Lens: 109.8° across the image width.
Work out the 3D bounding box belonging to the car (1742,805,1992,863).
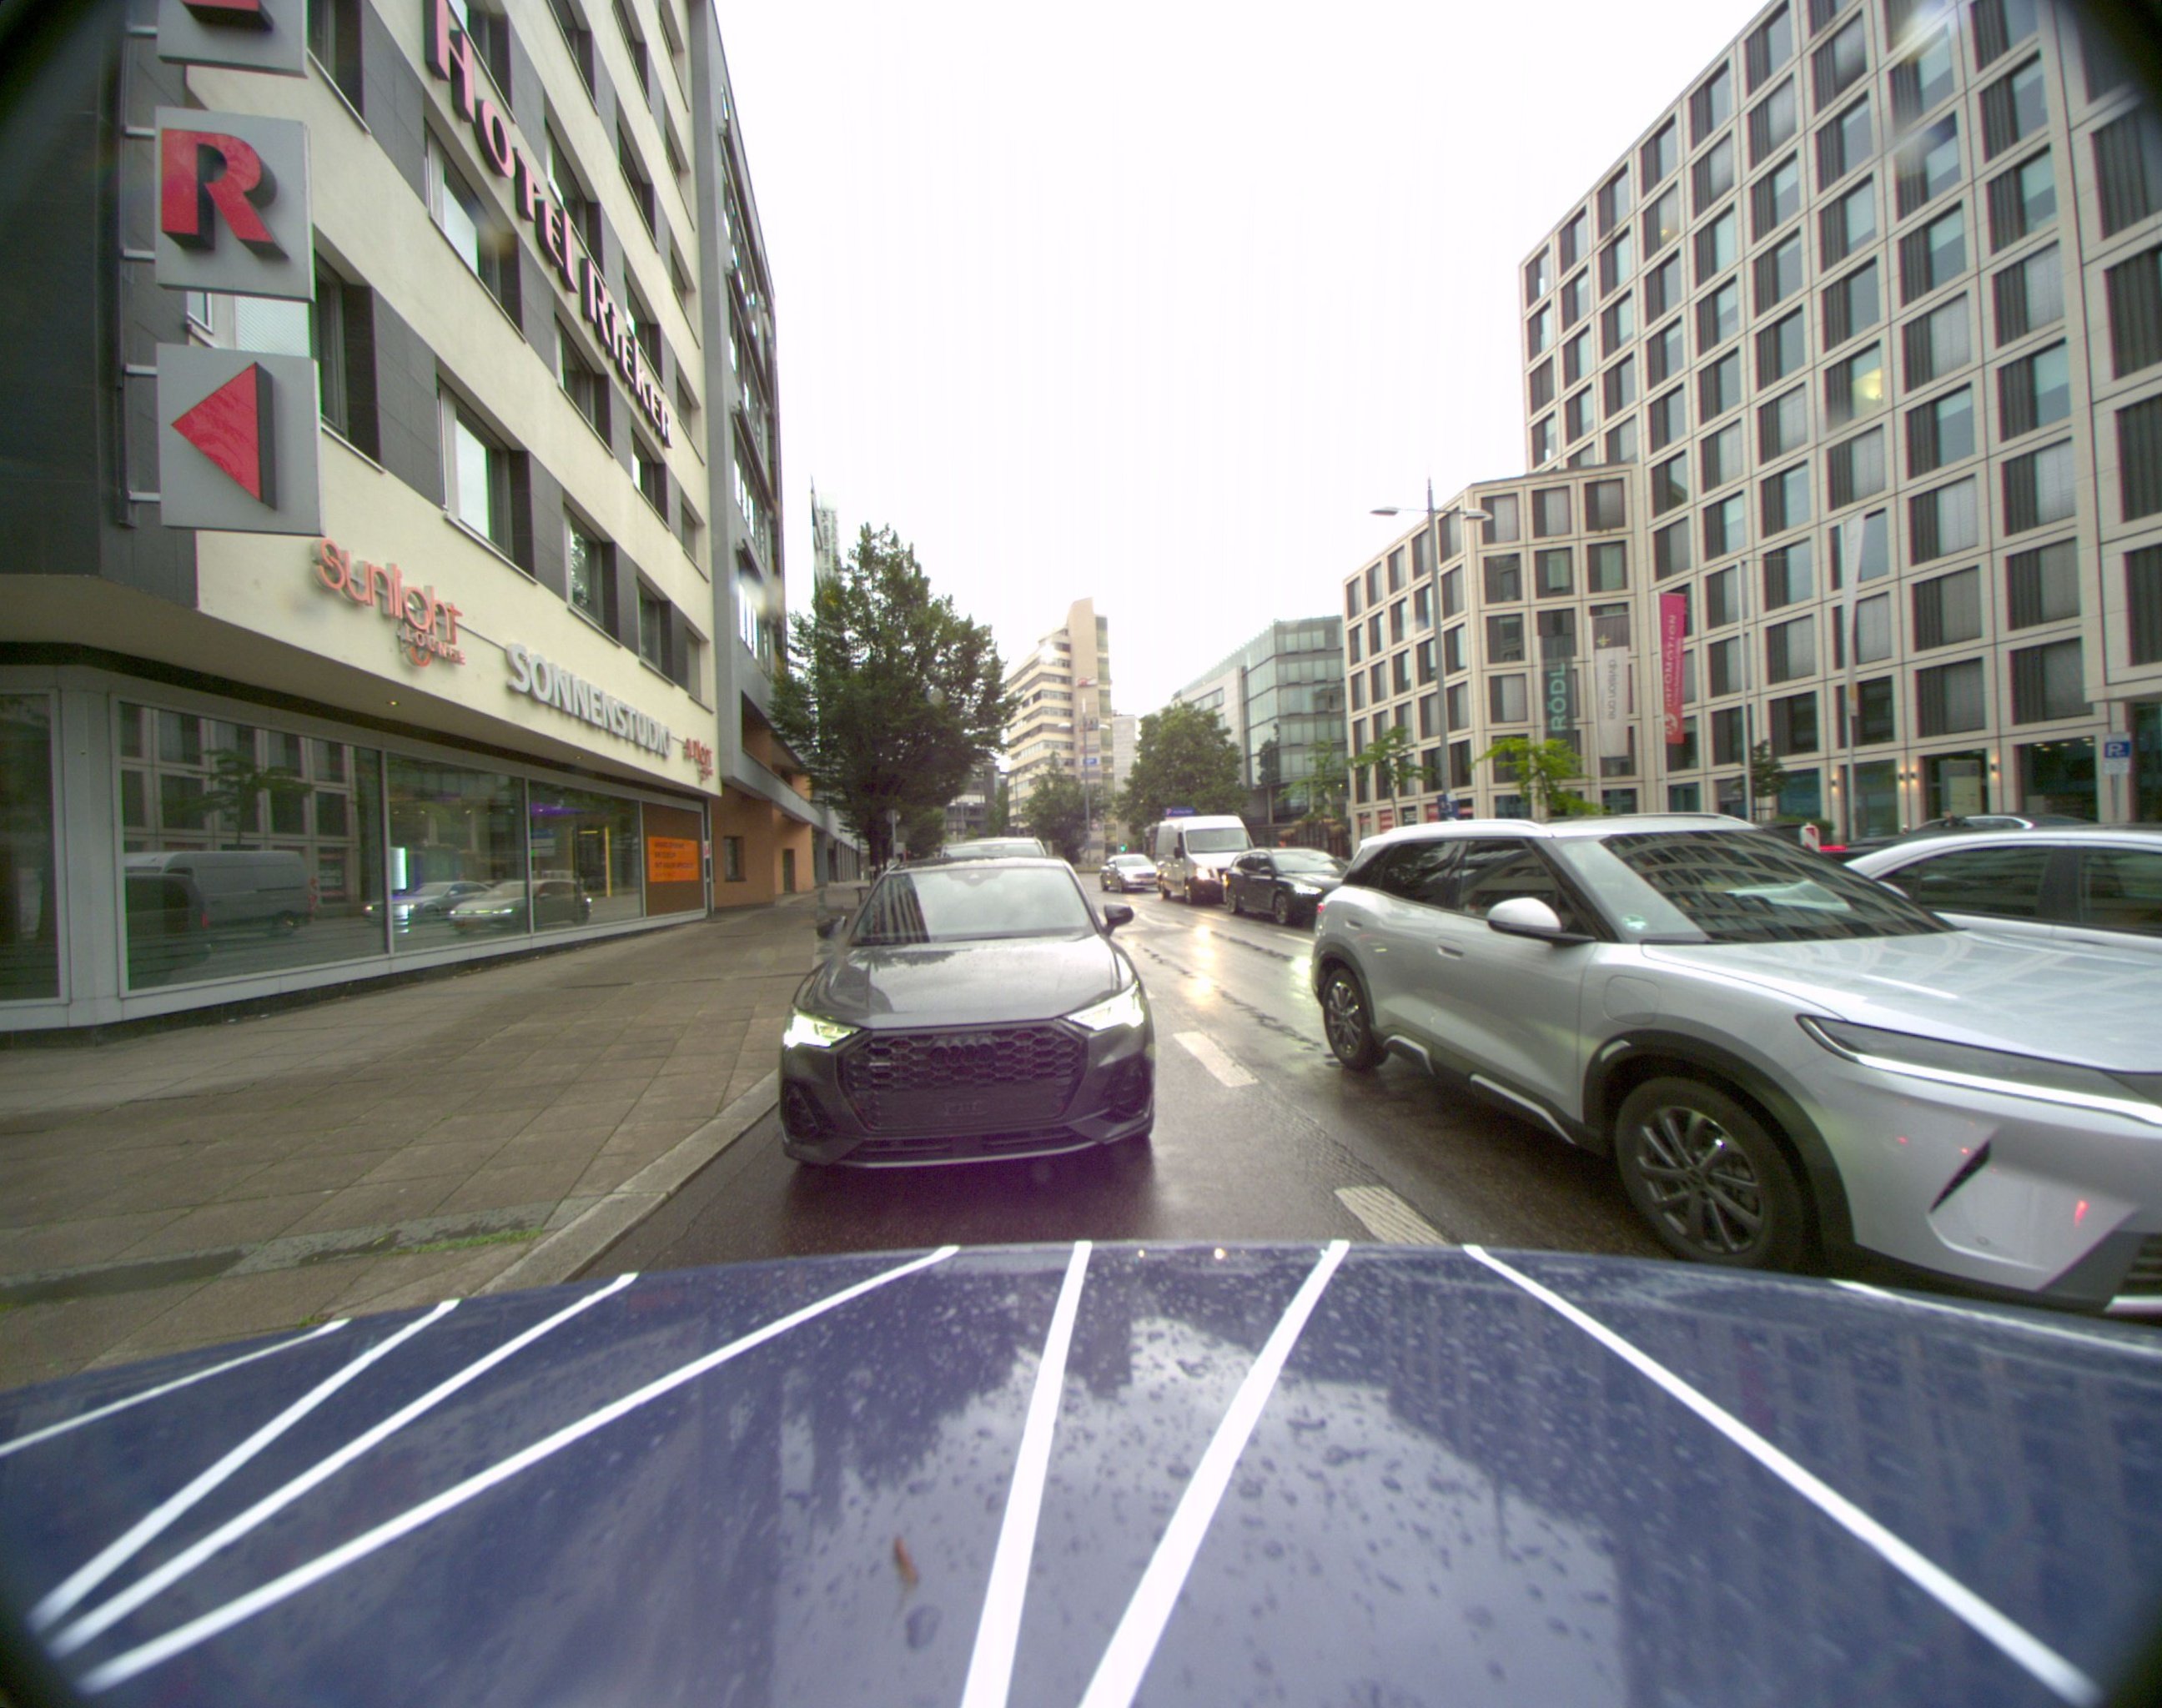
[{"bbox_3d":[23.573,-0.541,23.149,1.703,1.560,5.178,-1,0,-12],"label":"car"}]

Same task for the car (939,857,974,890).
[{"bbox_3d":[-6.412,0.974,39.427,1.600,1.460,3.445,-4,1,-8],"label":"car"}]

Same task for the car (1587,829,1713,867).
[{"bbox_3d":[22.875,-0.225,30.743,1.703,1.415,3.951,-1,0,-12],"label":"car"}]

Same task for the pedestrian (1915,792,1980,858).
[{"bbox_3d":[23.558,-0.784,20.679,0.614,1.724,0.966,-4,2,-11],"label":"pedestrian"}]

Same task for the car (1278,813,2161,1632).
[{"bbox_3d":[2.700,0.727,3.755,1.814,1.651,4.167,-4,1,-8],"label":"car"}]

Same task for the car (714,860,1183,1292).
[{"bbox_3d":[-0.668,0.910,5.288,1.802,1.543,4.385,-3,1,-4],"label":"car"}]

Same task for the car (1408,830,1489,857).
[{"bbox_3d":[20.370,-0.547,42.288,1.703,1.415,4.369,-1,0,-12],"label":"car"}]

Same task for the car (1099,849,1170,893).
[{"bbox_3d":[2.005,0.596,29.638,1.786,1.499,3.996,-4,1,-10],"label":"car"}]

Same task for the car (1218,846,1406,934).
[{"bbox_3d":[4.397,0.604,15.249,1.906,1.393,4.237,-4,1,-9],"label":"car"}]

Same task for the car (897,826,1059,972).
[{"bbox_3d":[-1.482,0.578,12.967,2.060,1.881,5.047,-3,1,-1],"label":"car"}]

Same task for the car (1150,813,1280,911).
[{"bbox_3d":[3.699,0.161,22.271,2.260,2.371,5.716,-3,1,-4],"label":"car"}]

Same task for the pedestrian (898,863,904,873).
[{"bbox_3d":[-29.269,2.272,123.467,0.654,1.589,1.057,-4,2,-18],"label":"pedestrian"}]

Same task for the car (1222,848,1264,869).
[{"bbox_3d":[12.269,0.336,57.800,1.703,1.510,3.870,-1,0,-12],"label":"car"}]

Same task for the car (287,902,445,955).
[{"bbox_3d":[-23.651,2.431,25.270,3.391,1.322,1.564,-4,1,-15],"label":"car"}]

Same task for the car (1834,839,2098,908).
[{"bbox_3d":[21.878,0.436,19.044,1.703,1.510,3.967,-1,0,-12],"label":"car"}]

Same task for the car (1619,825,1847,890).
[{"bbox_3d":[16.059,0.067,19.031,1.703,1.415,4.135,-1,0,-12],"label":"car"}]

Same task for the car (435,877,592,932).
[{"bbox_3d":[-16.357,1.398,22.190,1.721,1.187,3.998,-3,1,-4],"label":"car"}]

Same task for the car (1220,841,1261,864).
[{"bbox_3d":[15.301,-0.127,73.195,2.000,2.002,4.910,-4,1,-13],"label":"car"}]

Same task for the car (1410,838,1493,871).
[{"bbox_3d":[18.315,0.028,37.717,1.704,1.510,3.683,-1,0,-15],"label":"car"}]

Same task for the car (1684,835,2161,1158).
[{"bbox_3d":[5.751,0.640,3.751,1.738,1.396,4.380,-4,1,-6],"label":"car"}]

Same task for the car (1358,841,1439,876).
[{"bbox_3d":[14.554,0.197,35.067,1.703,1.510,3.551,-1,0,-12],"label":"car"}]
